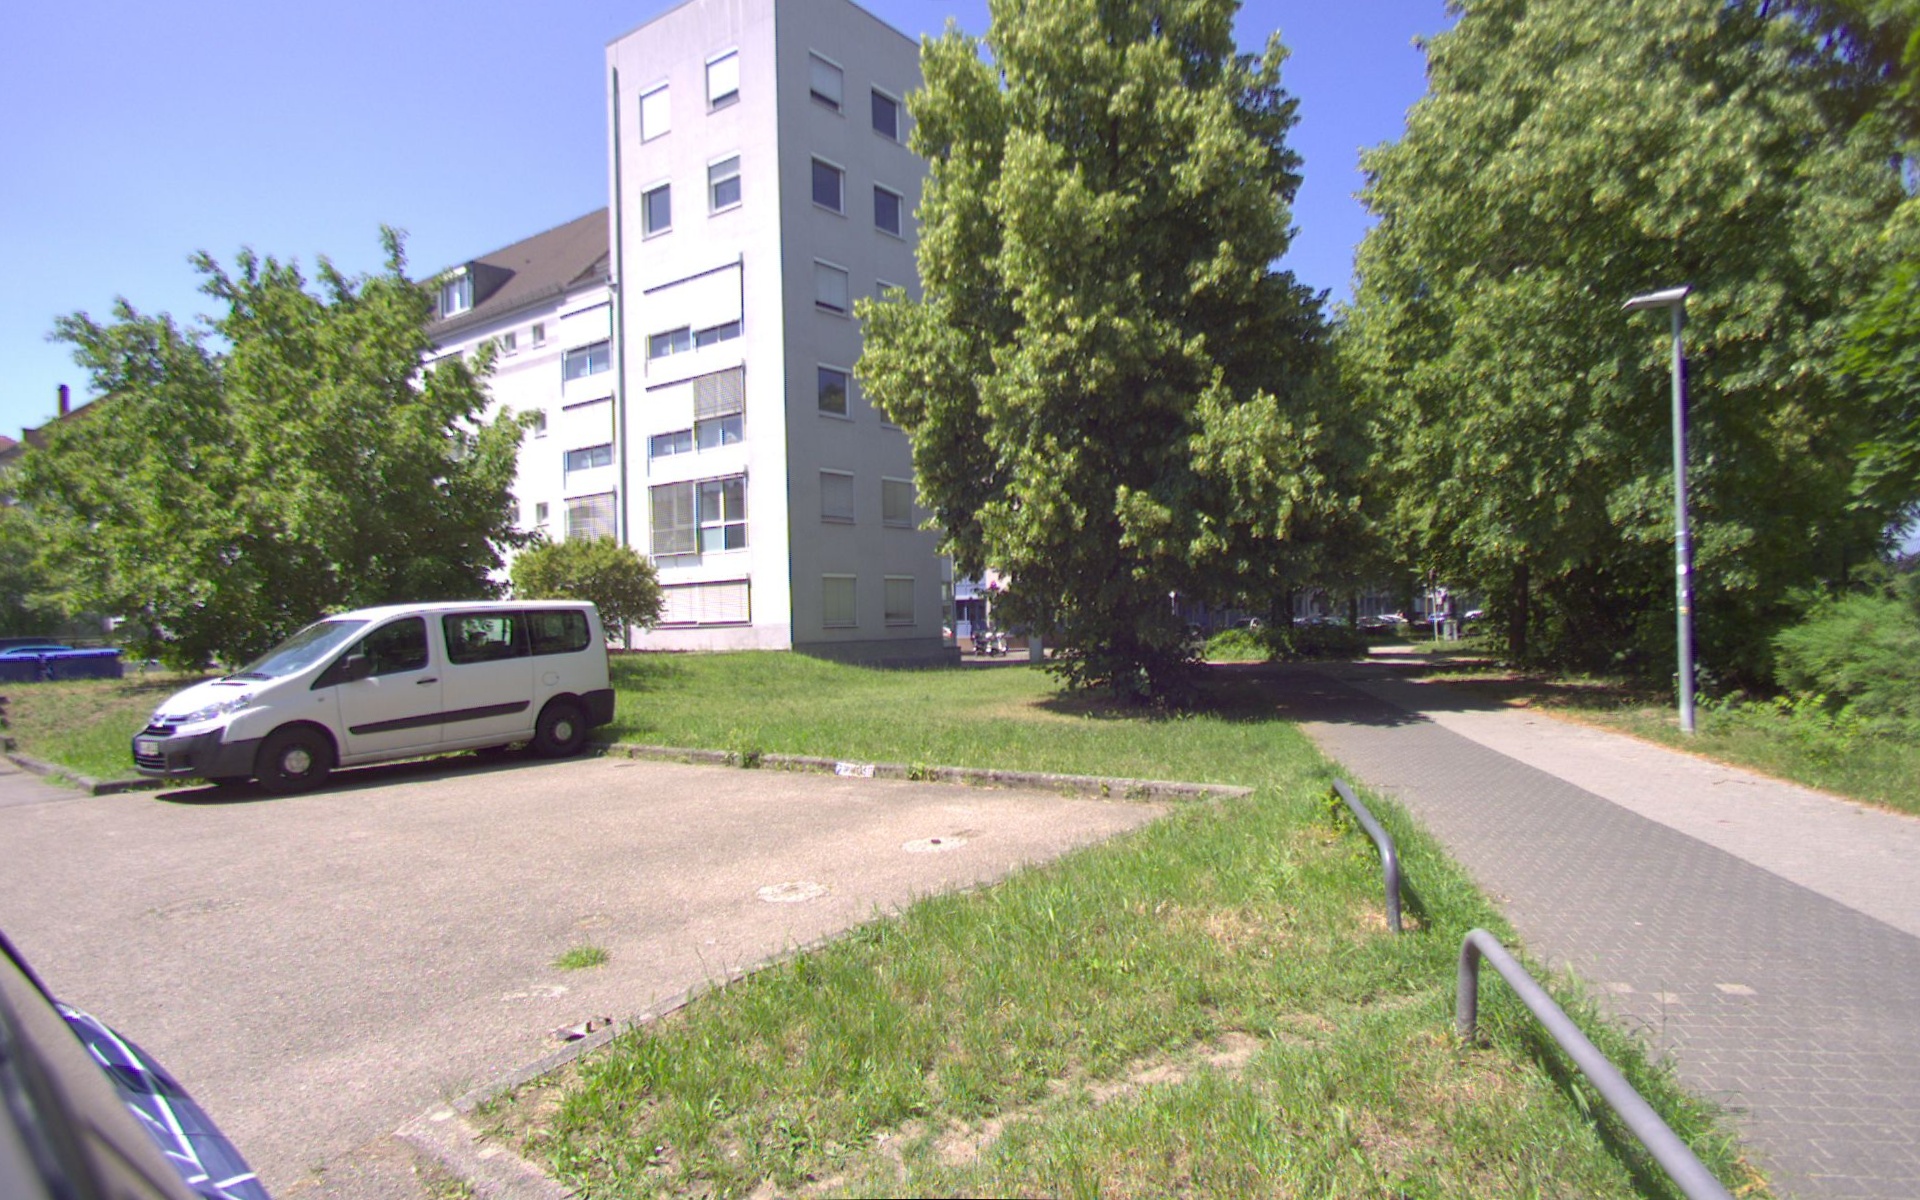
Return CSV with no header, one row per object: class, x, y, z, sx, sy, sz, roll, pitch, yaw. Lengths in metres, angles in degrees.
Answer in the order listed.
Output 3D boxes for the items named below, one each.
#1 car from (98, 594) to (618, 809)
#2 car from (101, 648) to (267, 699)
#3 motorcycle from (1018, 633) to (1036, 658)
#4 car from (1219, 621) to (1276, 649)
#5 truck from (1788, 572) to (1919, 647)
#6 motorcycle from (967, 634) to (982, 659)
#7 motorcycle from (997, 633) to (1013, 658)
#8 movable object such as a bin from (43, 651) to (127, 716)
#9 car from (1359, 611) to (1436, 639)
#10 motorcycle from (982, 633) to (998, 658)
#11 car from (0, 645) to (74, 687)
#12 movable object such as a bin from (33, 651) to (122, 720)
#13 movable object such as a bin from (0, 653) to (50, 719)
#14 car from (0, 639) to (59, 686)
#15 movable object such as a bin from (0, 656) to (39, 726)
car,-6.567,0.987,11.620,1.995,1.926,4.748,-4,-3,34
car,-24.972,2.330,32.694,1.708,1.447,3.951,-3,-2,36
motorcycle,3.336,2.249,50.711,0.690,1.176,2.332,-1,-1,0
car,18.103,2.166,63.639,1.974,1.630,4.116,-2,-2,39
truck,26.125,0.271,28.351,4.456,2.009,1.973,-2,-1,41
motorcycle,0.735,2.323,50.696,0.690,1.176,2.303,-1,-1,0
motorcycle,2.258,2.290,50.837,0.690,1.176,2.332,-1,-1,0
movable object such as a bin,-19.533,1.840,22.598,1.103,1.338,1.242,-3,-2,40
car,22.221,1.271,51.430,3.480,1.253,1.737,-3,-2,26
motorcycle,1.497,2.293,50.823,0.690,1.176,2.311,-1,-1,0
car,-38.340,2.656,40.438,1.855,1.565,4.121,-3,-2,34
movable object such as a bin,-18.410,1.759,21.114,1.103,1.338,1.242,-3,-2,40
movable object such as a bin,-20.318,1.830,21.564,1.103,1.338,1.242,-3,-2,40
car,-40.475,2.650,41.926,1.996,1.846,4.397,-2,-1,36
movable object such as a bin,-19.223,1.809,20.091,1.103,1.338,1.242,-3,-2,40
